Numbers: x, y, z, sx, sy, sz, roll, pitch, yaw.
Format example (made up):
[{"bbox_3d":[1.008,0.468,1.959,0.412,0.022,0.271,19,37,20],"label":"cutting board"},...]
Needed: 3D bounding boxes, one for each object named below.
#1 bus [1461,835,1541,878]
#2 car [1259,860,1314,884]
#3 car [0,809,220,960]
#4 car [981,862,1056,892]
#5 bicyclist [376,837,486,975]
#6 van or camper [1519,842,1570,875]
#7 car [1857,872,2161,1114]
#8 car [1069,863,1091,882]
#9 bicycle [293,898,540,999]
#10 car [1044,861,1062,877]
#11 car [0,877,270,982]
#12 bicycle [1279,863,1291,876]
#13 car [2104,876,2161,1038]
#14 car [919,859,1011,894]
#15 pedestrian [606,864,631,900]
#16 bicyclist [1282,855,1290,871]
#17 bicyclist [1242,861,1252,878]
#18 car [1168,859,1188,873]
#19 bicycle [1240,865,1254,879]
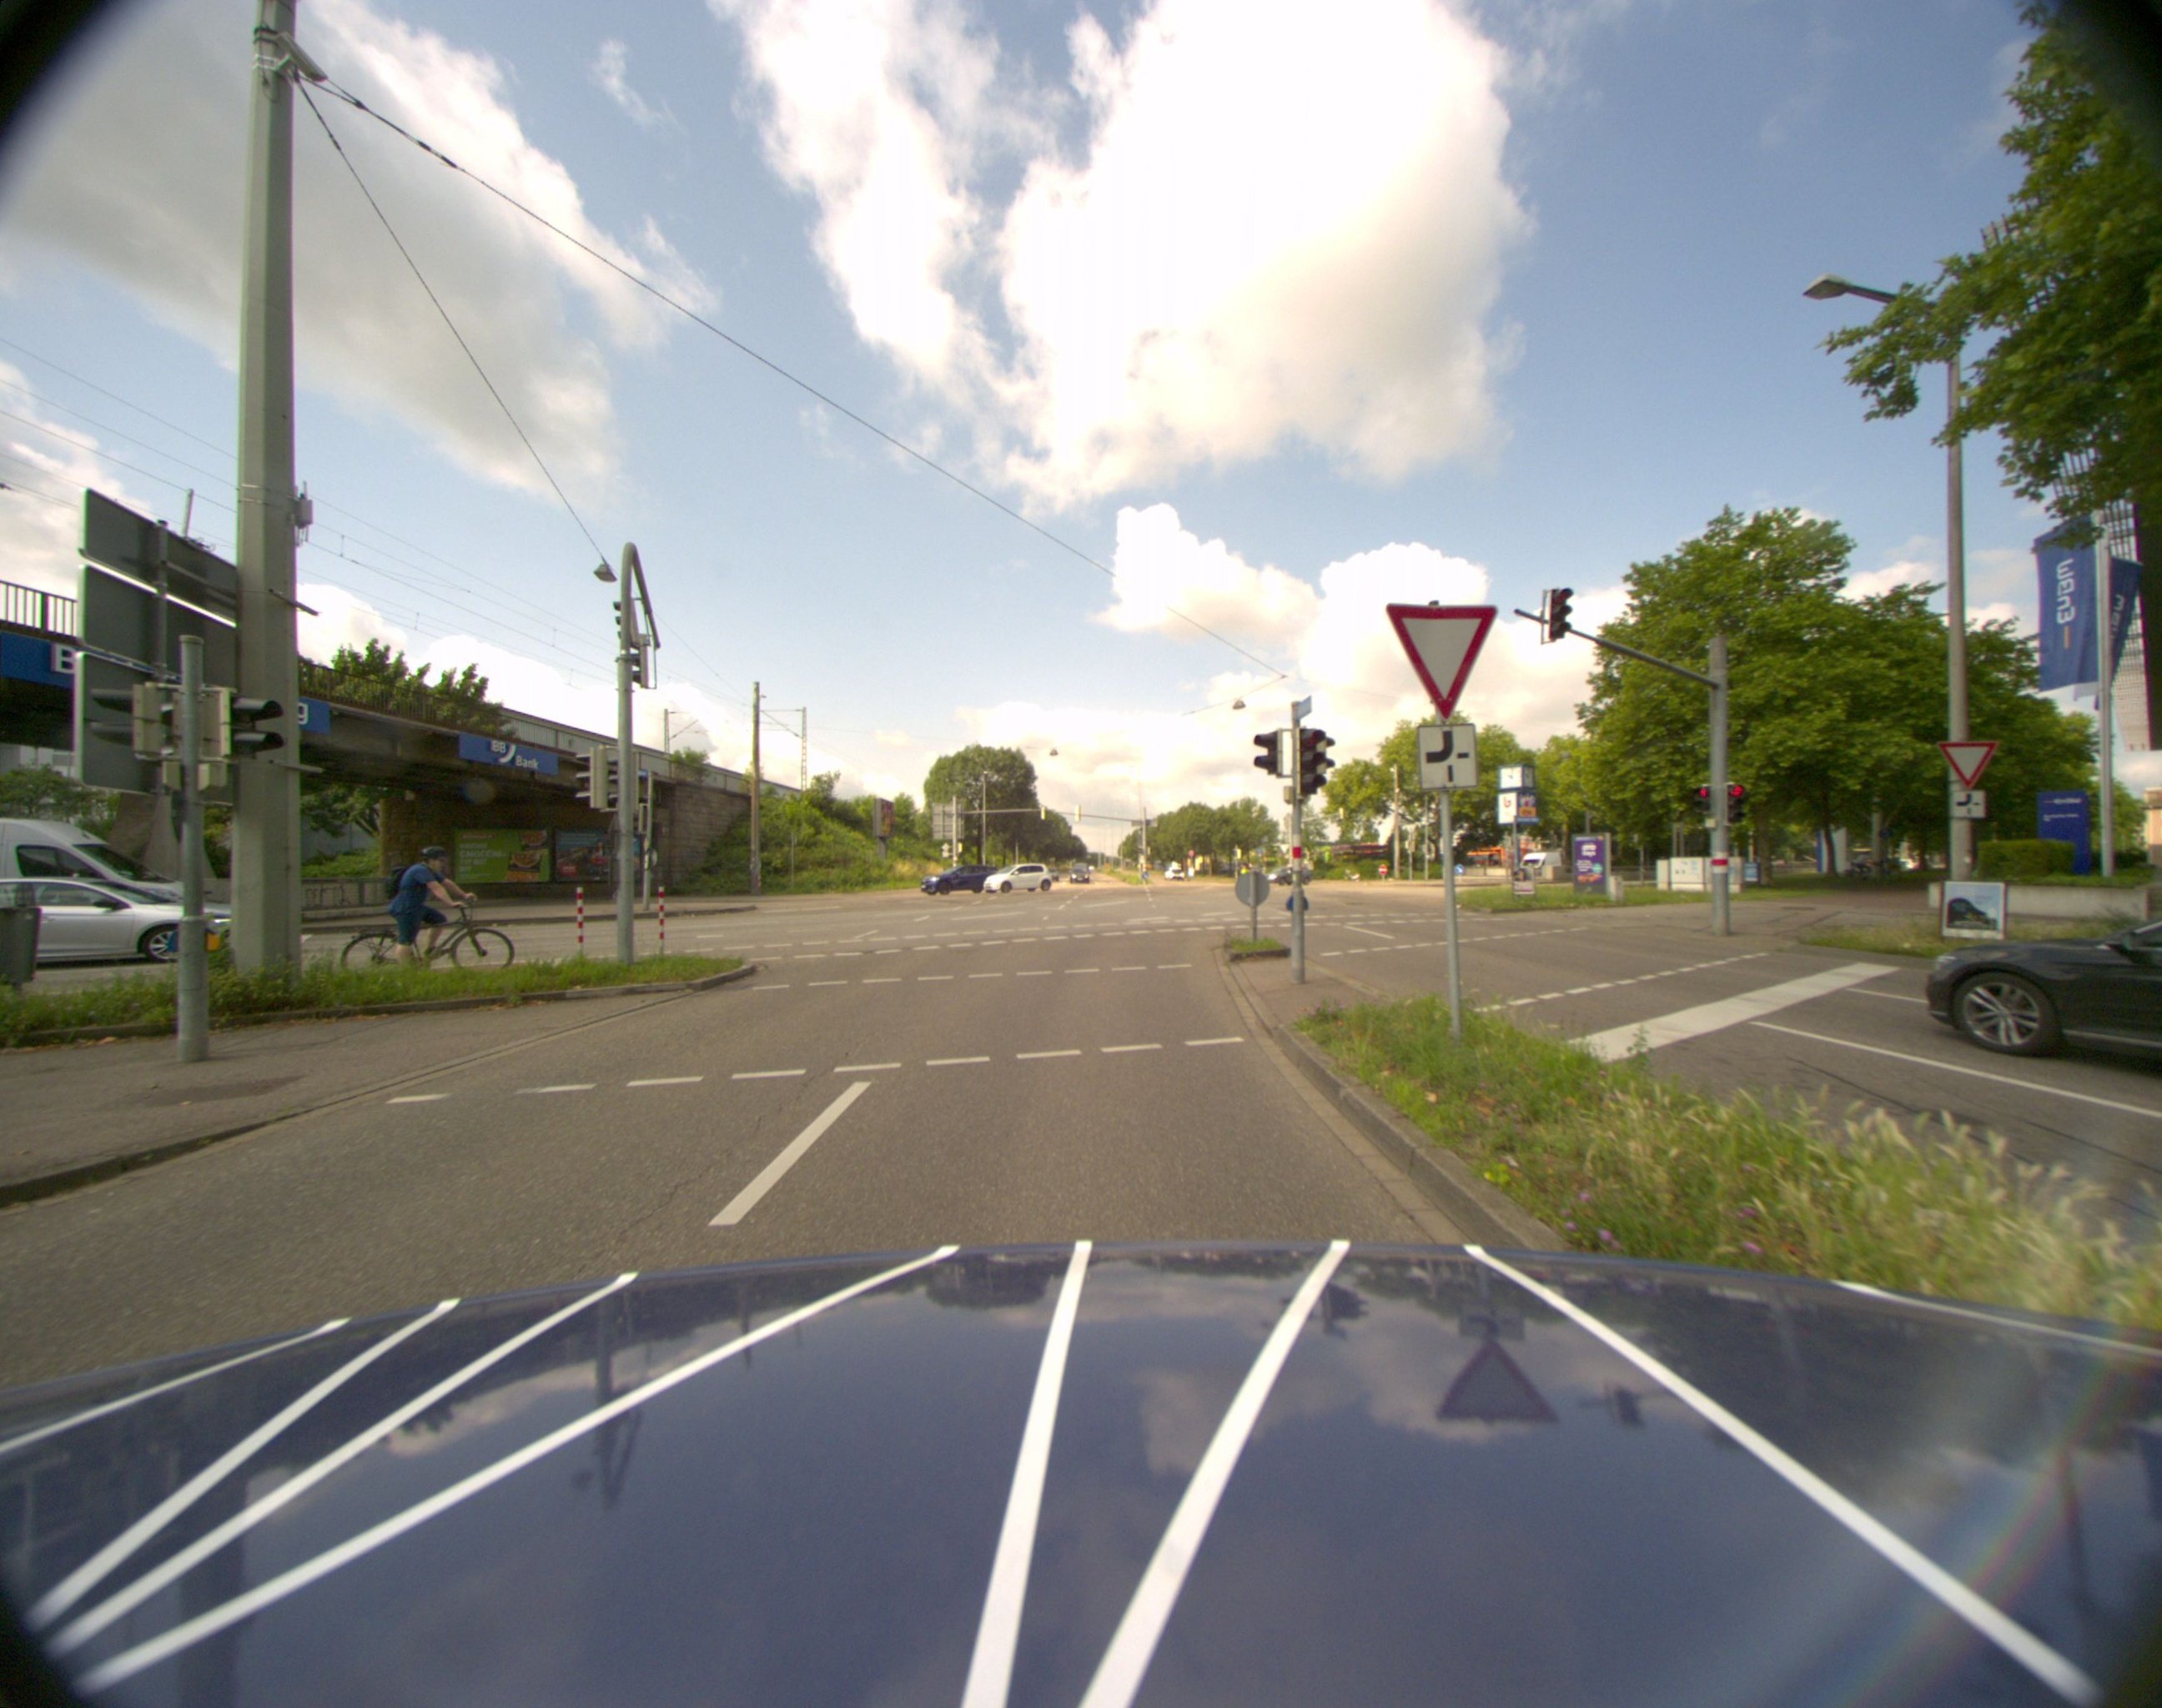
[{"bbox_3d":[42.335,0.157,76.343,10.410,3.448,2.738,-5,6,-35],"label":"bus"},{"bbox_3d":[15.540,1.311,57.348,4.006,1.456,1.768,-5,3,-35],"label":"car"},{"bbox_3d":[-20.168,0.565,13.636,5.634,2.514,2.258,-5,7,-34],"label":"car"},{"bbox_3d":[-3.281,1.173,40.183,3.609,1.477,1.733,-1,0,-37],"label":"car"},{"bbox_3d":[-8.556,0.639,10.058,0.824,1.670,0.843,-4,6,-28],"label":"bicyclist"},{"bbox_3d":[46.079,0.397,75.487,5.974,2.771,2.158,-5,6,-36],"label":"van or camper"},{"bbox_3d":[8.082,0.937,4.703,1.869,1.564,4.568,0,0,0],"label":"car"},{"bbox_3d":[-0.098,1.572,66.838,1.820,1.477,3.999,-1,1,0],"label":"car"},{"bbox_3d":[-8.646,1.192,10.058,2.322,1.087,0.843,-1,0,-28],"label":"bicycle"},{"bbox_3d":[-2.890,1.523,79.450,1.716,1.477,3.999,-1,1,0],"label":"car"},{"bbox_3d":[-16.263,1.180,12.303,4.007,1.468,1.703,-1,1,-36],"label":"car"},{"bbox_3d":[20.743,1.564,77.306,0.791,1.189,2.234,-1,0,6],"label":"bicycle"},{"bbox_3d":[11.599,1.067,5.900,1.734,1.563,3.997,1,1,-5],"label":"car"},{"bbox_3d":[-6.344,1.204,41.854,4.587,1.566,1.887,-3,2,-35],"label":"car"},{"bbox_3d":[-22.539,1.366,37.039,0.692,1.642,0.608,-2,5,-5],"label":"pedestrian"},{"bbox_3d":[20.845,0.929,77.323,0.677,1.676,0.755,-1,0,6],"label":"bicyclist"},{"bbox_3d":[17.032,1.596,78.030,0.677,1.671,0.836,-6,4,-8],"label":"bicyclist"},{"bbox_3d":[11.087,1.365,87.399,1.749,1.470,3.798,1,0,-1],"label":"car"},{"bbox_3d":[17.057,1.831,78.075,0.677,1.190,2.230,-6,3,-7],"label":"bicycle"}]
